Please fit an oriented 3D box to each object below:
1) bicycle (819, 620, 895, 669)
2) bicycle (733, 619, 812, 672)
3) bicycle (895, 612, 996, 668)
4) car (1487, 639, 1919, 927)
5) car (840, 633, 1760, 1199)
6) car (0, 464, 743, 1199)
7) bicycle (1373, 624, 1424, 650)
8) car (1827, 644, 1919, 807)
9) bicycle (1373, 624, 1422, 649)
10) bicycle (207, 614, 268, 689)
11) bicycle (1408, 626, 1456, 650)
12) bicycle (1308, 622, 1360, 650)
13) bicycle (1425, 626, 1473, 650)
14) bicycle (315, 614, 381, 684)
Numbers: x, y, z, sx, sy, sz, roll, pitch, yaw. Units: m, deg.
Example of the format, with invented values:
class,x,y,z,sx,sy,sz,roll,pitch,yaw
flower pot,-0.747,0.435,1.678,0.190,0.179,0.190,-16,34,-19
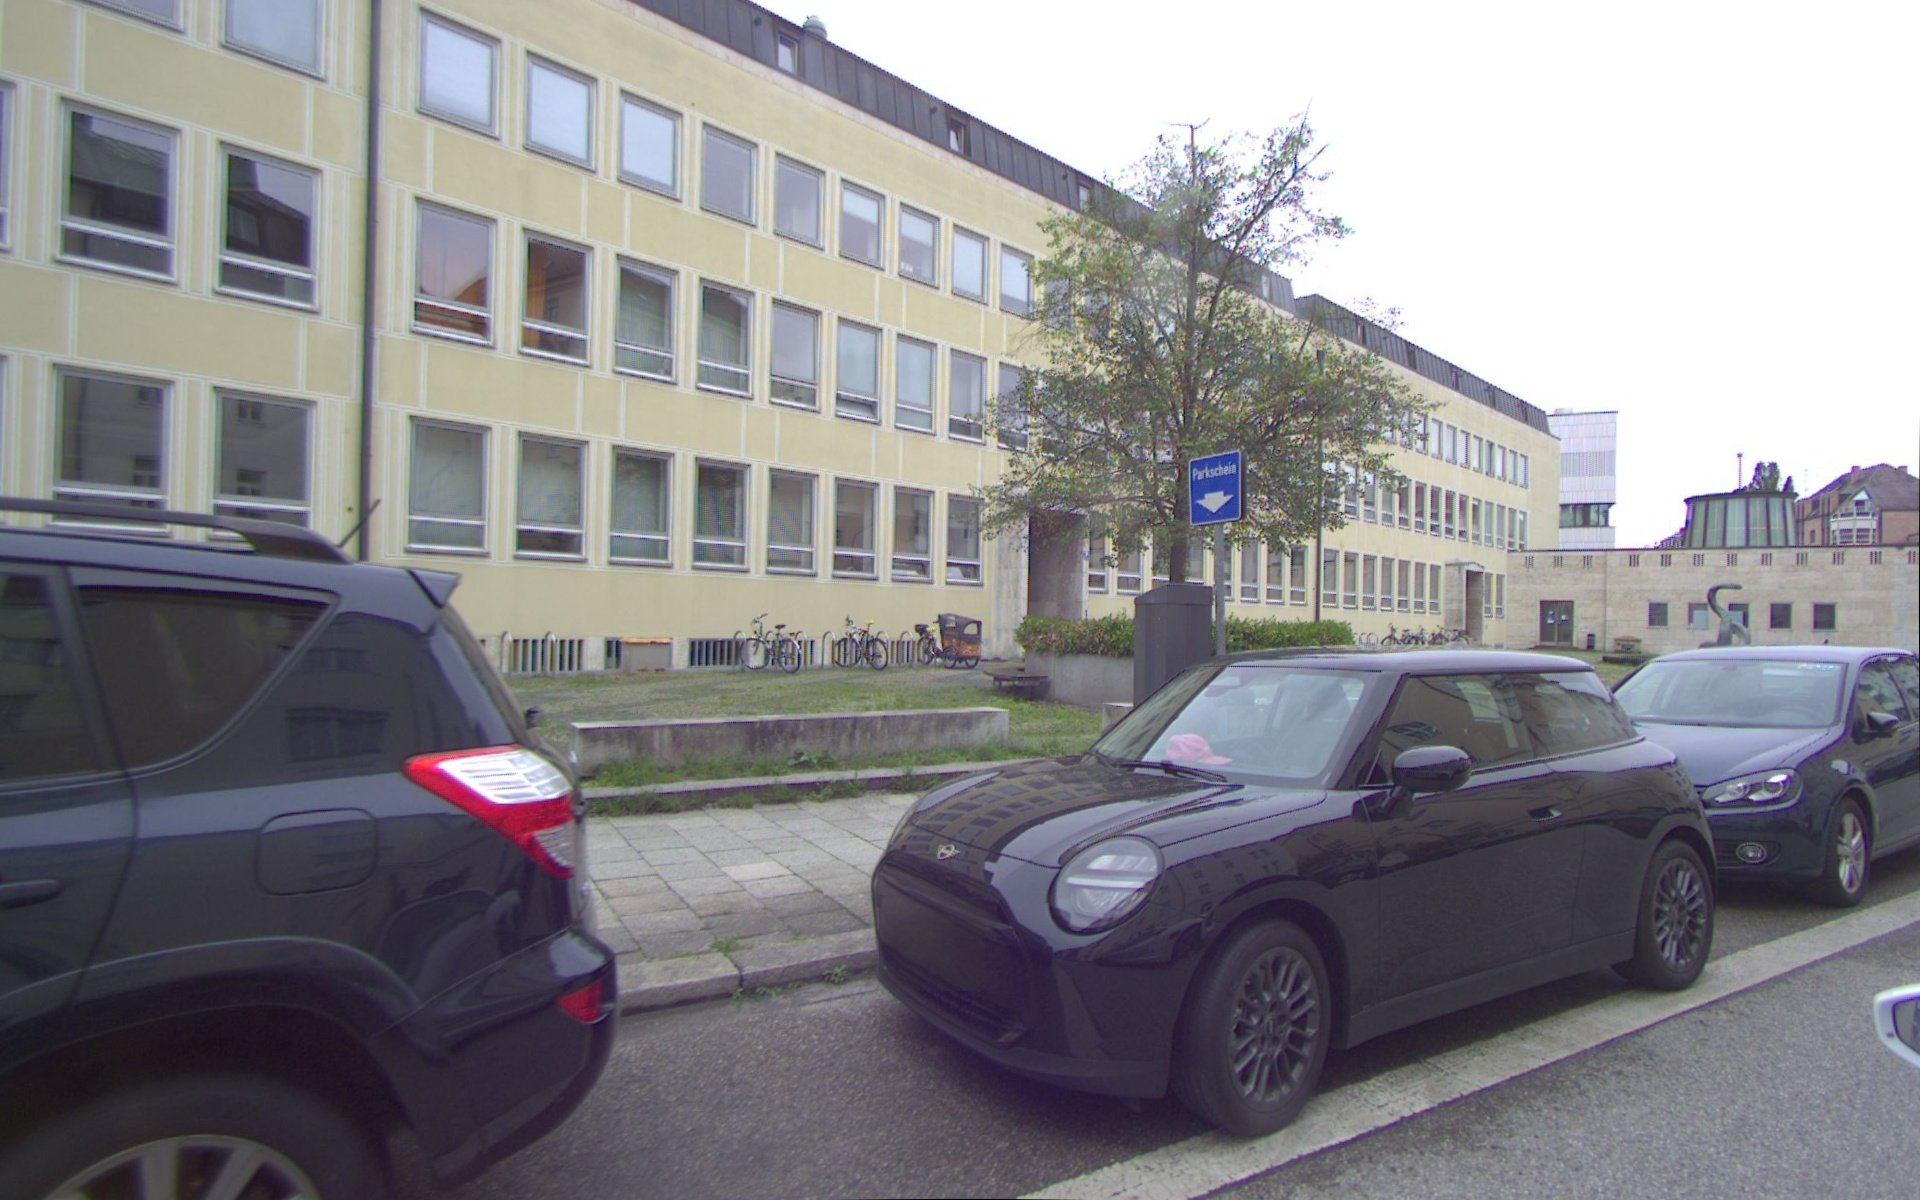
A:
class,x,y,z,sx,sy,sz,roll,pitch,yaw
bicycle,-2.350,0.991,22.740,1.926,1.028,0.622,0,-1,44
bicycle,-3.932,0.936,20.960,1.926,1.028,0.622,0,-1,44
bicycle,-0.367,0.956,24.437,2.409,1.265,1.050,0,-1,44
car,5.528,1.016,6.941,3.932,1.472,1.647,2,-3,-33
car,1.576,0.900,4.317,3.825,1.472,1.672,2,-3,-31
car,-2.789,0.656,1.803,4.398,1.687,1.736,2,-4,-31
bicycle,18.962,1.592,43.434,1.926,1.028,0.622,0,-1,44
car,10.484,1.183,10.072,4.029,1.472,1.647,2,-3,-33
bicycle,19.291,1.610,44.300,0.620,1.028,1.930,1,-1,-40
bicycle,-10.793,0.732,14.981,0.620,1.028,1.931,1,-1,-39
bicycle,21.710,1.745,46.207,0.621,1.028,1.928,1,-1,-44
bicycle,14.789,1.410,39.751,0.619,1.028,1.933,1,-1,-36
bicycle,22.866,1.773,47.018,1.923,1.028,0.623,0,-1,40
bicycle,-9.723,0.746,15.925,0.620,1.028,1.931,1,-1,-39
